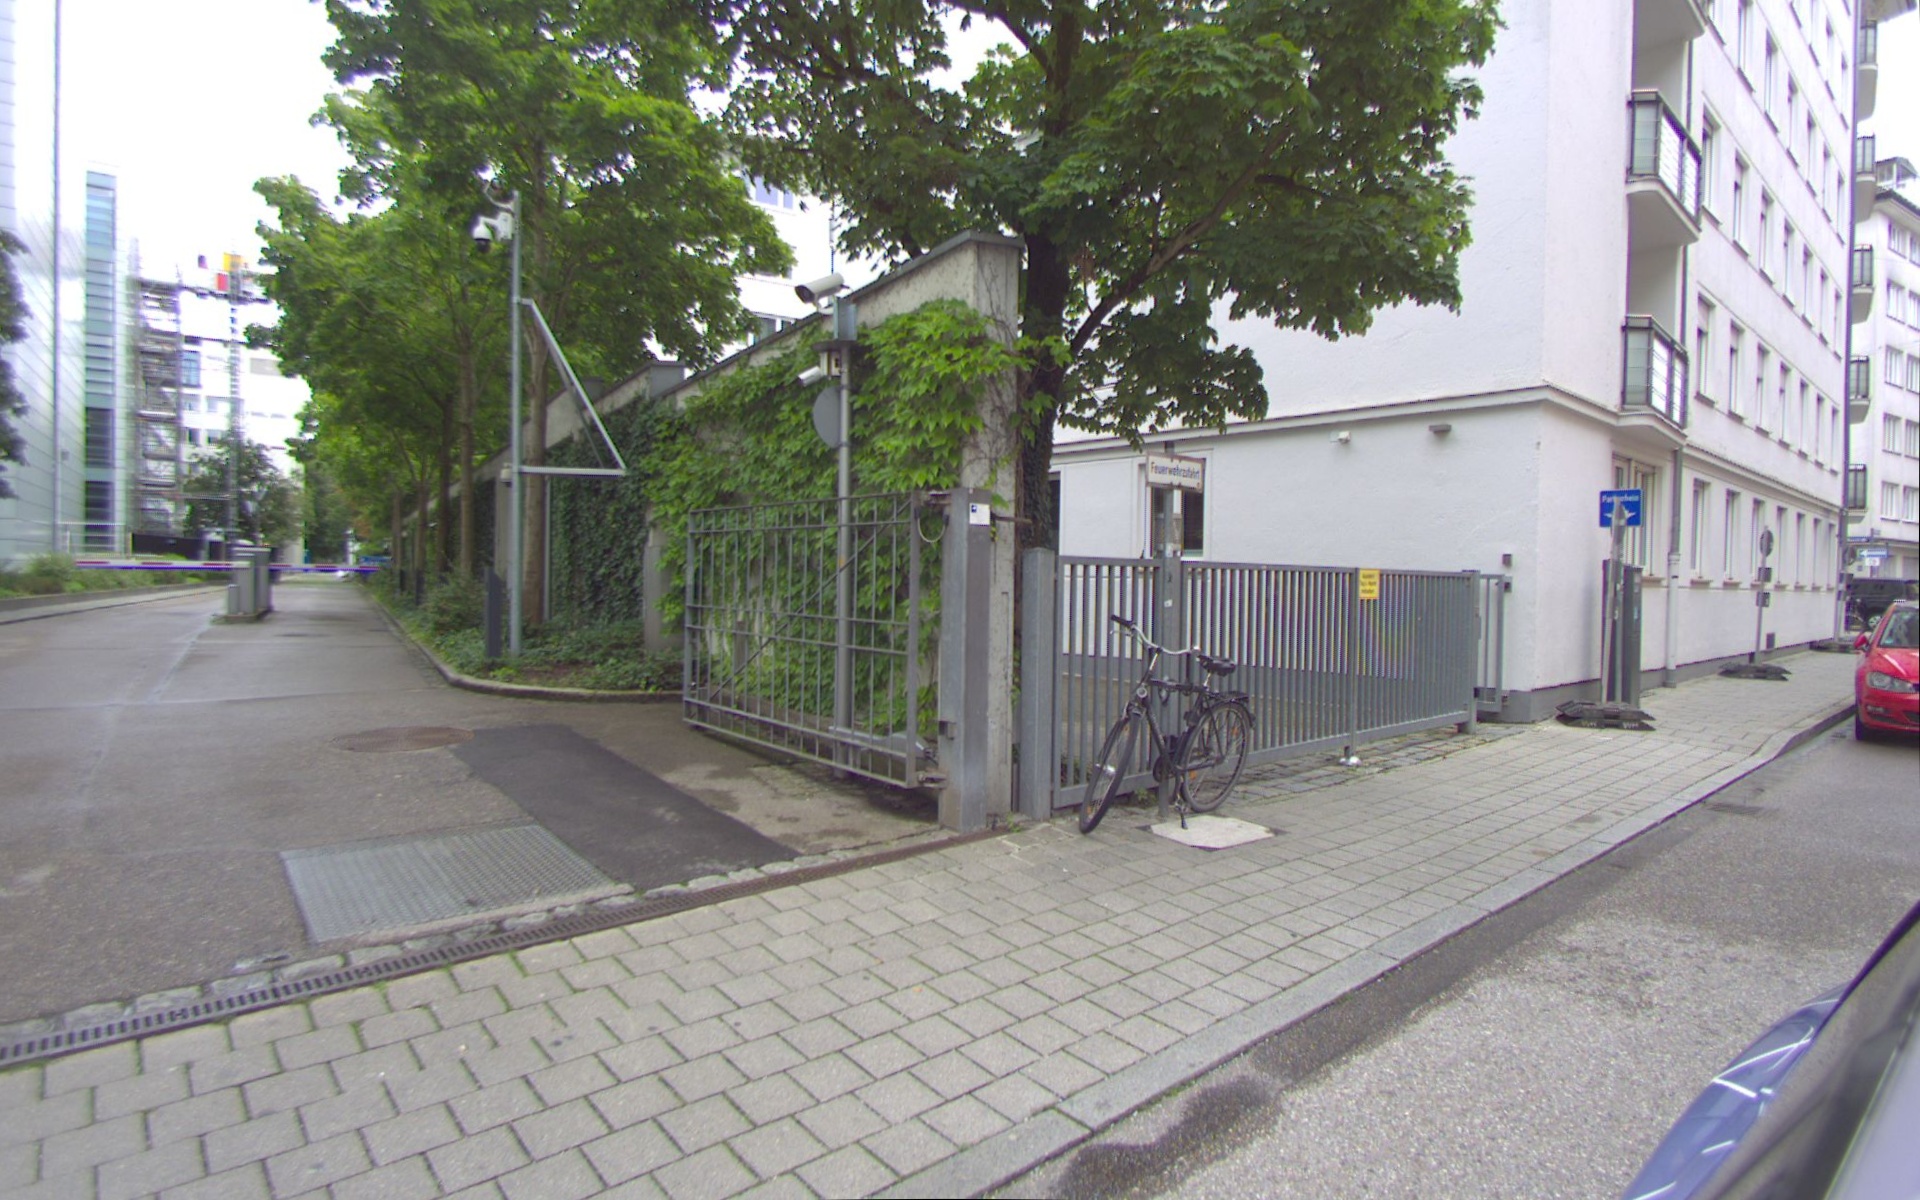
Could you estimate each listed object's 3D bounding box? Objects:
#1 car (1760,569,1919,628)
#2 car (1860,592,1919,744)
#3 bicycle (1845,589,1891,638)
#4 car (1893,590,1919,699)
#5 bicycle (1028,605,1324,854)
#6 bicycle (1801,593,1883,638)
[{"bbox_3d":[31.738,-0.083,36.048,1.896,1.914,4.686,1,2,-33],"label":"car"},{"bbox_3d":[11.043,0.643,11.070,1.760,1.465,4.233,0,0,42],"label":"car"},{"bbox_3d":[24.459,0.347,27.288,0.395,1.219,1.494,3,3,23],"label":"bicycle"},{"bbox_3d":[14.927,0.589,14.513,4.306,1.457,1.798,-1,0,-41],"label":"car"},{"bbox_3d":[1.308,0.686,5.902,1.801,1.213,0.709,4,-1,-41],"label":"bicycle"},{"bbox_3d":[22.903,0.383,26.309,1.489,1.056,0.395,4,3,31],"label":"bicycle"}]
